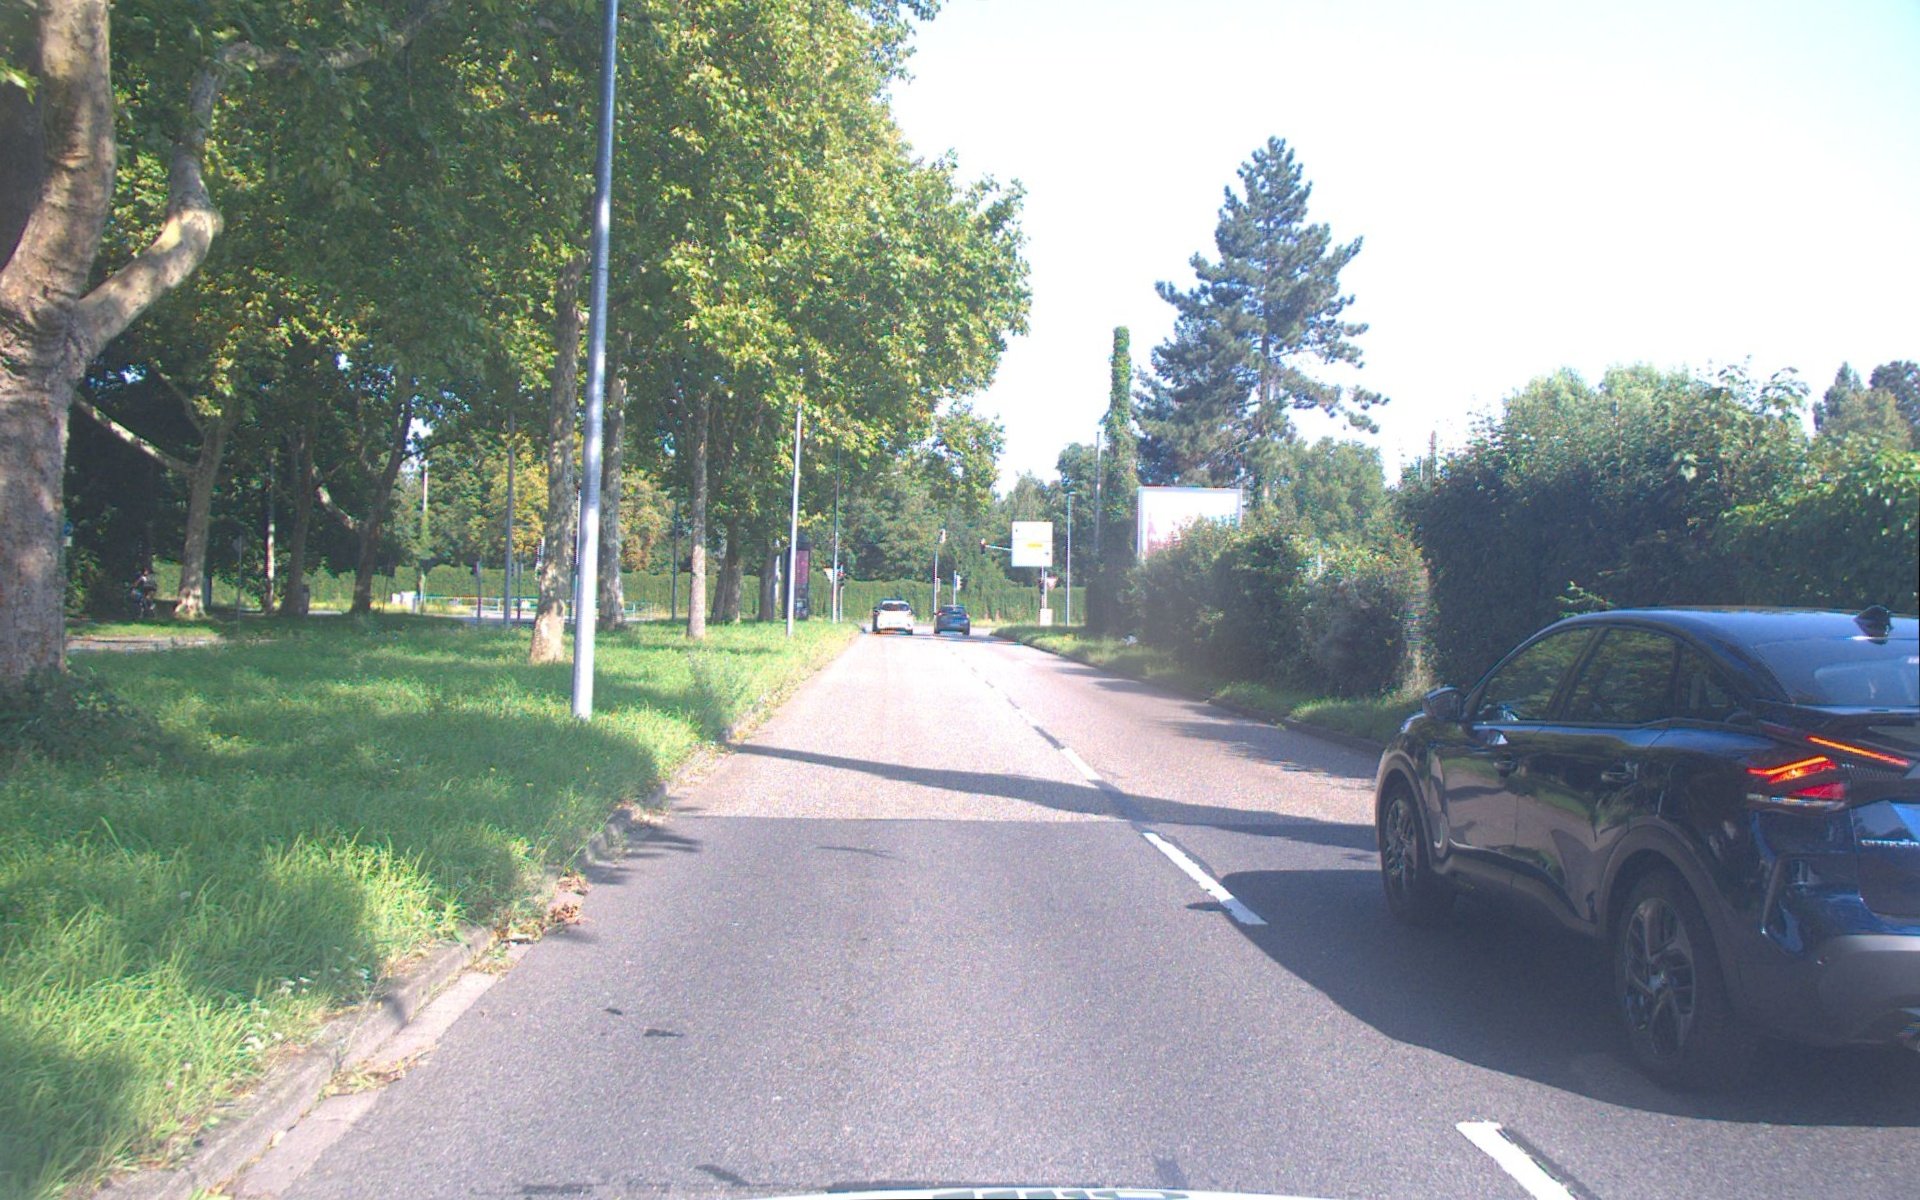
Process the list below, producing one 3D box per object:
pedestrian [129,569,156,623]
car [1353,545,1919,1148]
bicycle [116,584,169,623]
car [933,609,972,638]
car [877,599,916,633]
[{"bbox_3d":[-26.458,-0.130,53.526,0.532,1.720,0.657,2,-1,-5],"label":"pedestrian"},{"bbox_3d":[3.001,0.691,6.626,1.612,1.616,4.251,1,-1,-4],"label":"car"},{"bbox_3d":[-26.472,0.126,53.599,0.533,1.220,2.758,2,-1,-5],"label":"bicycle"},{"bbox_3d":[-0.399,1.193,84.517,1.762,1.426,3.998,2,-1,-3],"label":"car"},{"bbox_3d":[-2.890,0.728,75.635,1.653,1.487,3.999,2,-1,-1],"label":"car"}]
